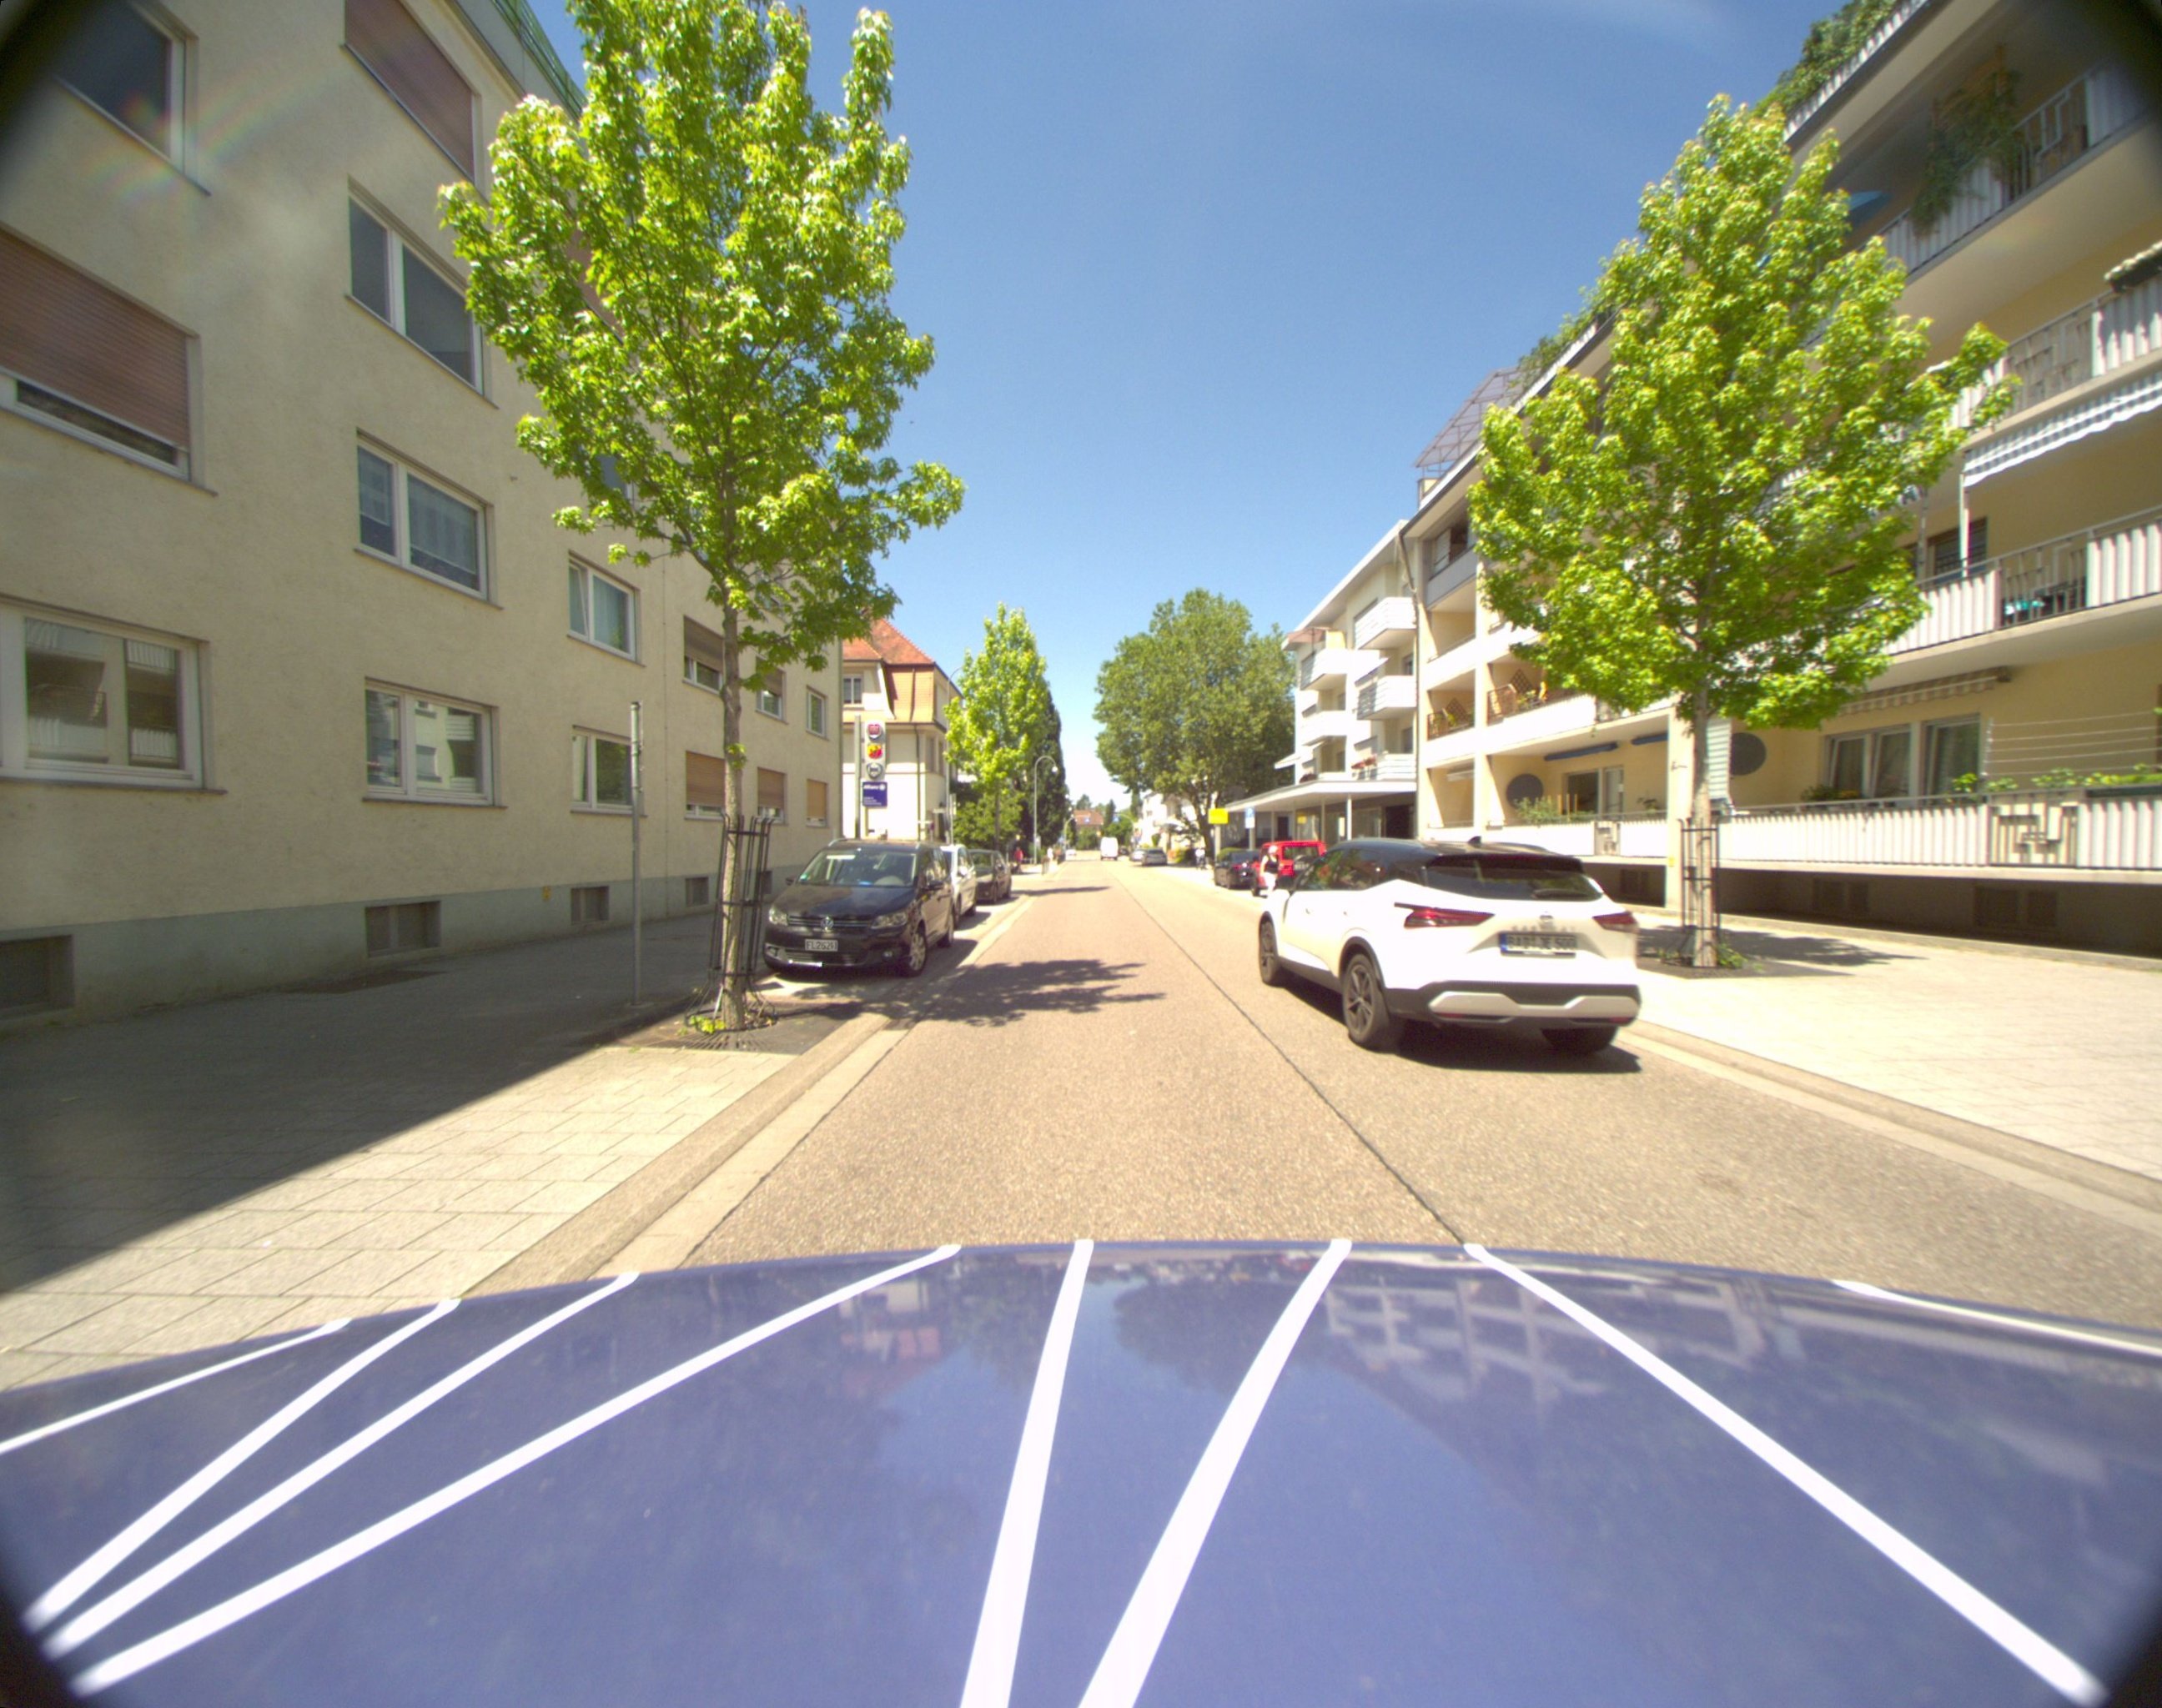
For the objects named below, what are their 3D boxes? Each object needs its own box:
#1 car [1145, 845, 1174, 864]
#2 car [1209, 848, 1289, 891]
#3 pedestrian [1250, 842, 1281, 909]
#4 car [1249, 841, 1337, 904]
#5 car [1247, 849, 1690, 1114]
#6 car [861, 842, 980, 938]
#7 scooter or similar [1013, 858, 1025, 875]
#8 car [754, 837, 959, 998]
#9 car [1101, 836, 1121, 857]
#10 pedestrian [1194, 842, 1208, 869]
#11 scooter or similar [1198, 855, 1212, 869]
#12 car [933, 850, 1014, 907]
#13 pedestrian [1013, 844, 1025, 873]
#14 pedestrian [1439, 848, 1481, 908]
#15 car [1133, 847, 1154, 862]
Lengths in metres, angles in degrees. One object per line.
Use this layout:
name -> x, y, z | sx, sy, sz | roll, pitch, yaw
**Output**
car -> 6.261, 0.012, 61.170 | 1.998, 1.499, 4.000 | 0, 1, 1
car -> 6.224, 0.527, 28.623 | 1.999, 1.455, 3.999 | -1, 1, -2
pedestrian -> 4.995, 0.581, 20.637 | 0.685, 1.794, 0.668 | 0, 1, 0
car -> 6.142, 0.495, 22.313 | 1.644, 1.652, 3.370 | -2, 1, 1
car -> 2.906, 0.795, 6.930 | 1.776, 1.623, 4.299 | 1, 1, -1
car -> -3.153, 0.622, 15.707 | 1.693, 1.712, 4.132 | 0, 1, -2
scooter or similar -> -3.435, 0.663, 41.983 | 0.625, 0.927, 0.735 | 0, 1, -2
car -> -2.778, 0.686, 10.323 | 1.693, 1.712, 3.998 | 2, 0, -3
car -> 3.593, -0.913, 91.967 | 2.231, 2.452, 5.248 | 0, 1, 1
pedestrian -> 8.196, 0.091, 51.744 | 0.639, 1.782, 0.742 | -1, 1, -22
scooter or similar -> 8.281, 0.535, 50.873 | 0.639, 0.920, 0.742 | -1, 1, -22
car -> -3.006, 0.625, 22.025 | 1.692, 1.479, 4.133 | 0, 1, 1
pedestrian -> -3.465, 0.231, 42.711 | 0.625, 1.597, 0.735 | 0, 1, -2
pedestrian -> 9.526, 0.584, 19.134 | 0.778, 1.490, 0.698 | 0, 1, 12
car -> 6.611, 0.024, 81.044 | 1.998, 1.630, 3.999 | 0, 1, 0
